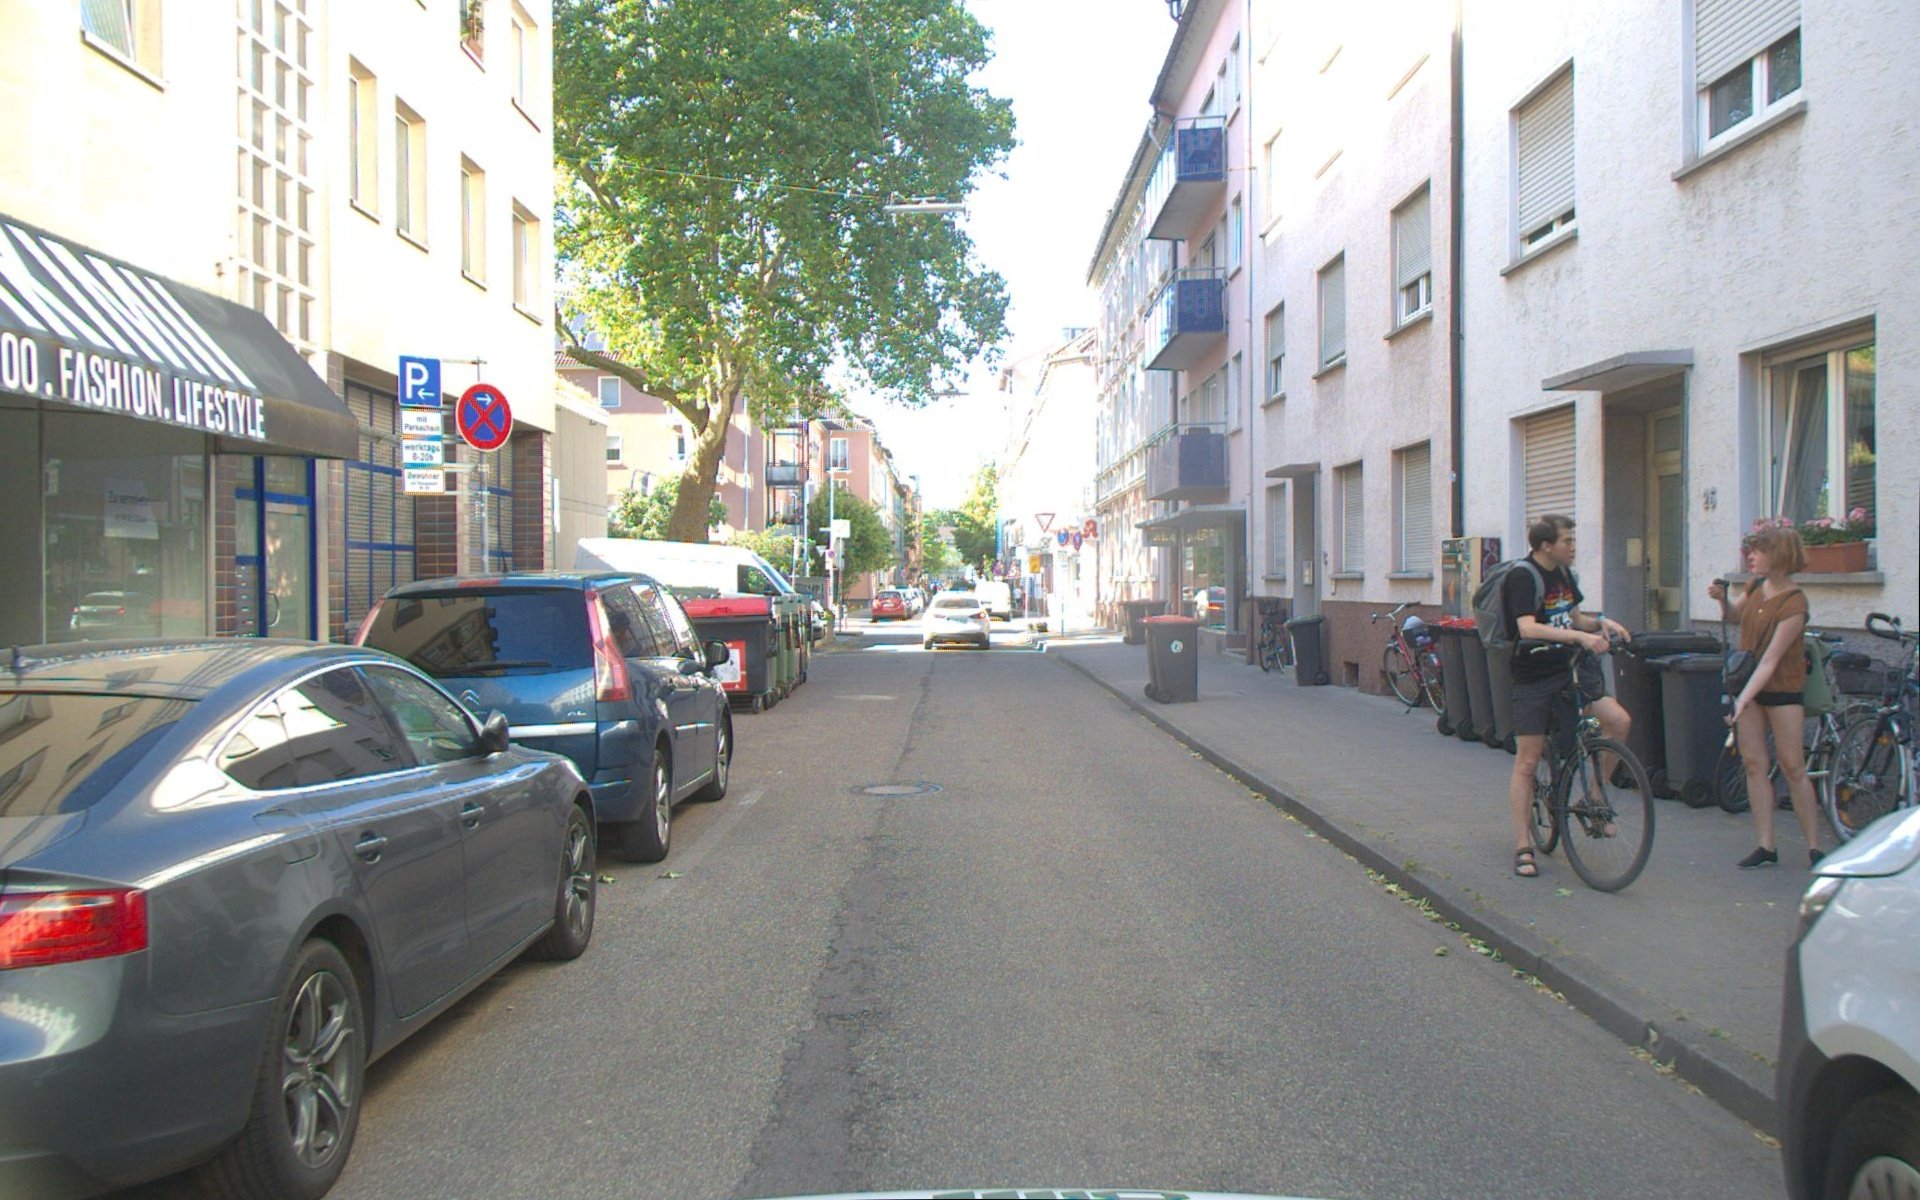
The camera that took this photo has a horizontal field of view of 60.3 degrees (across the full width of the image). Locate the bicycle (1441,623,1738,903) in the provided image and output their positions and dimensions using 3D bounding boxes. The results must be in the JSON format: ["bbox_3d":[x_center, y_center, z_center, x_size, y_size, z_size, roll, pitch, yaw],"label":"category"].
[{"bbox_3d":[3.128,0.747,8.446,0.650,1.156,1.987,-3,1,-2],"label":"bicycle"}]

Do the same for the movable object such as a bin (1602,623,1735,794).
[{"bbox_3d":[4.754,0.712,11.130,0.603,1.081,0.603,-2,0,-1],"label":"movable object such as a bin"}]

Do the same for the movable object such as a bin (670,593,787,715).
[{"bbox_3d":[-2.938,0.676,21.163,1.292,1.476,1.187,-2,0,-1],"label":"movable object such as a bin"}]

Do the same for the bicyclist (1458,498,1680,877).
[{"bbox_3d":[3.083,0.416,8.438,0.745,1.801,0.822,-3,1,-2],"label":"bicyclist"}]

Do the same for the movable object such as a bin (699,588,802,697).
[{"bbox_3d":[-2.948,0.591,23.381,1.321,1.513,1.003,0,0,-1],"label":"movable object such as a bin"}]

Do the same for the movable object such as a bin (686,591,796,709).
[{"bbox_3d":[-2.937,0.656,22.337,1.307,1.510,1.093,-2,0,-1],"label":"movable object such as a bin"}]

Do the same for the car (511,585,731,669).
[{"bbox_3d":[-6.355,0.499,31.308,3.797,1.531,1.826,0,0,-1],"label":"car"}]

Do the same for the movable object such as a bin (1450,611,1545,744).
[{"bbox_3d":[4.697,0.665,14.479,0.643,1.124,0.593,-1,0,1],"label":"movable object such as a bin"}]

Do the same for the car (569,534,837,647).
[{"bbox_3d":[-6.728,-0.241,43.798,6.600,2.599,2.146,3,0,1],"label":"car"}]

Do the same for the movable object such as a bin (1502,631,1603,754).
[{"bbox_3d":[4.750,0.732,13.284,0.593,0.951,0.605,-1,0,1],"label":"movable object such as a bin"}]

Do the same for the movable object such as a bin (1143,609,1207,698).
[{"bbox_3d":[2.729,0.672,21.052,0.717,1.099,0.703,-1,0,1],"label":"movable object such as a bin"}]

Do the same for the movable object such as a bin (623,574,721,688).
[{"bbox_3d":[-4.237,0.445,24.399,1.268,1.649,1.018,0,0,-1],"label":"movable object such as a bin"}]

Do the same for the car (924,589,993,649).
[{"bbox_3d":[-0.068,0.487,45.208,1.786,1.540,3.823,-1,0,-1],"label":"car"}]

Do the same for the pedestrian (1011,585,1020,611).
[{"bbox_3d":[3.730,-0.116,110.957,0.605,1.764,0.560,-1,-1,-1],"label":"pedestrian"}]

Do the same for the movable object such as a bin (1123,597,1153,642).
[{"bbox_3d":[4.447,0.482,41.241,0.687,1.092,0.596,-1,0,1],"label":"movable object such as a bin"}]

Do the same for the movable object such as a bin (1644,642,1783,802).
[{"bbox_3d":[4.779,0.760,10.521,0.565,0.940,0.607,-3,0,0],"label":"movable object such as a bin"}]

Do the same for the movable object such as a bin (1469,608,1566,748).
[{"bbox_3d":[4.685,0.643,13.917,0.615,1.142,0.569,-1,-1,1],"label":"movable object such as a bin"}]

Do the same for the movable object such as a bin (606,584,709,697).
[{"bbox_3d":[-4.261,0.563,23.396,1.275,1.549,1.018,0,0,-1],"label":"movable object such as a bin"}]

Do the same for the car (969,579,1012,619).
[{"bbox_3d":[1.504,-0.062,83.816,1.904,1.982,4.076,1,0,-3],"label":"car"}]

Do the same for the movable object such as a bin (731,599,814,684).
[{"bbox_3d":[-3.001,0.658,26.576,1.215,1.345,1.045,0,0,-1],"label":"movable object such as a bin"}]

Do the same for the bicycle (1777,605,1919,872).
[{"bbox_3d":[4.694,0.639,8.163,0.428,1.227,2.268,-1,0,7],"label":"bicycle"}]

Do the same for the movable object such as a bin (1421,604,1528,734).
[{"bbox_3d":[4.681,0.617,15.074,0.724,1.116,0.640,-3,-1,1],"label":"movable object such as a bin"}]

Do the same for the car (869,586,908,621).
[{"bbox_3d":[-3.457,0.154,80.574,1.734,1.616,3.726,-1,1,-1],"label":"car"}]

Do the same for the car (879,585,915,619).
[{"bbox_3d":[-3.284,0.081,86.173,1.685,1.712,3.726,-1,0,0],"label":"car"}]

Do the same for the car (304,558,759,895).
[{"bbox_3d":[-2.509,0.636,10.927,1.746,1.696,4.670,-2,0,0],"label":"car"}]

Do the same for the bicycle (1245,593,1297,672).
[{"bbox_3d":[4.778,0.483,25.487,0.444,1.154,1.920,-3,0,2],"label":"bicycle"}]

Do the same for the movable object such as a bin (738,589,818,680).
[{"bbox_3d":[-3.033,0.569,27.675,1.274,1.476,1.116,0,0,-4],"label":"movable object such as a bin"}]

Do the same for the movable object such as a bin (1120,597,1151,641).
[{"bbox_3d":[4.446,0.477,41.873,0.730,1.105,0.635,-1,0,1],"label":"movable object such as a bin"}]

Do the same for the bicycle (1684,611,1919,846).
[{"bbox_3d":[4.681,0.653,9.252,0.556,1.173,1.869,-1,0,4],"label":"bicycle"}]

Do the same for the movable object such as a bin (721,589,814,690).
[{"bbox_3d":[-2.952,0.599,25.485,1.307,1.517,1.082,0,0,-1],"label":"movable object such as a bin"}]

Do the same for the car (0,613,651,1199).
[{"bbox_3d":[-2.415,0.803,5.547,1.807,1.441,4.817,-2,0,0],"label":"car"}]

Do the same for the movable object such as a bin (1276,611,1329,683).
[{"bbox_3d":[4.700,0.634,22.747,0.585,0.968,0.682,-1,0,1],"label":"movable object such as a bin"}]

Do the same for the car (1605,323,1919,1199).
[{"bbox_3d":[2.531,0.471,1.019,1.943,1.916,5.599,-4,1,0],"label":"car"}]

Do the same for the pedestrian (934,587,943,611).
[{"bbox_3d":[-1.582,-0.087,124.120,0.634,1.828,0.639,-1,-1,1],"label":"pedestrian"}]

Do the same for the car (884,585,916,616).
[{"bbox_3d":[-3.300,0.016,91.688,1.602,1.685,3.785,0,0,0],"label":"car"}]

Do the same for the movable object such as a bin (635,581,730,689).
[{"bbox_3d":[-4.256,0.526,25.463,1.262,1.632,1.082,0,0,-1],"label":"movable object such as a bin"}]

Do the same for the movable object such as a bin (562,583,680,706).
[{"bbox_3d":[-4.313,0.555,21.160,1.270,1.524,1.178,0,0,0],"label":"movable object such as a bin"}]

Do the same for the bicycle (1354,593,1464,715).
[{"bbox_3d":[4.813,0.545,17.868,0.526,1.190,2.076,-4,1,-1],"label":"bicycle"}]

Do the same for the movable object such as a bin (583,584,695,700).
[{"bbox_3d":[-4.307,0.558,22.318,1.279,1.525,1.157,0,0,-1],"label":"movable object such as a bin"}]

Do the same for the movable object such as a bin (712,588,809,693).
[{"bbox_3d":[-2.932,0.588,24.417,1.316,1.525,1.018,0,0,-1],"label":"movable object such as a bin"}]

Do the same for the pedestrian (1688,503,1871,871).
[{"bbox_3d":[4.059,0.414,8.232,0.641,1.741,0.687,-1,-1,12],"label":"pedestrian"}]

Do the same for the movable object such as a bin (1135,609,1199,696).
[{"bbox_3d":[2.720,0.682,21.765,0.752,1.105,0.693,-1,0,1],"label":"movable object such as a bin"}]

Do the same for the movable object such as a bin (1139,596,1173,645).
[{"bbox_3d":[4.654,0.484,39.296,0.715,1.123,0.693,-1,0,-2],"label":"movable object such as a bin"}]
